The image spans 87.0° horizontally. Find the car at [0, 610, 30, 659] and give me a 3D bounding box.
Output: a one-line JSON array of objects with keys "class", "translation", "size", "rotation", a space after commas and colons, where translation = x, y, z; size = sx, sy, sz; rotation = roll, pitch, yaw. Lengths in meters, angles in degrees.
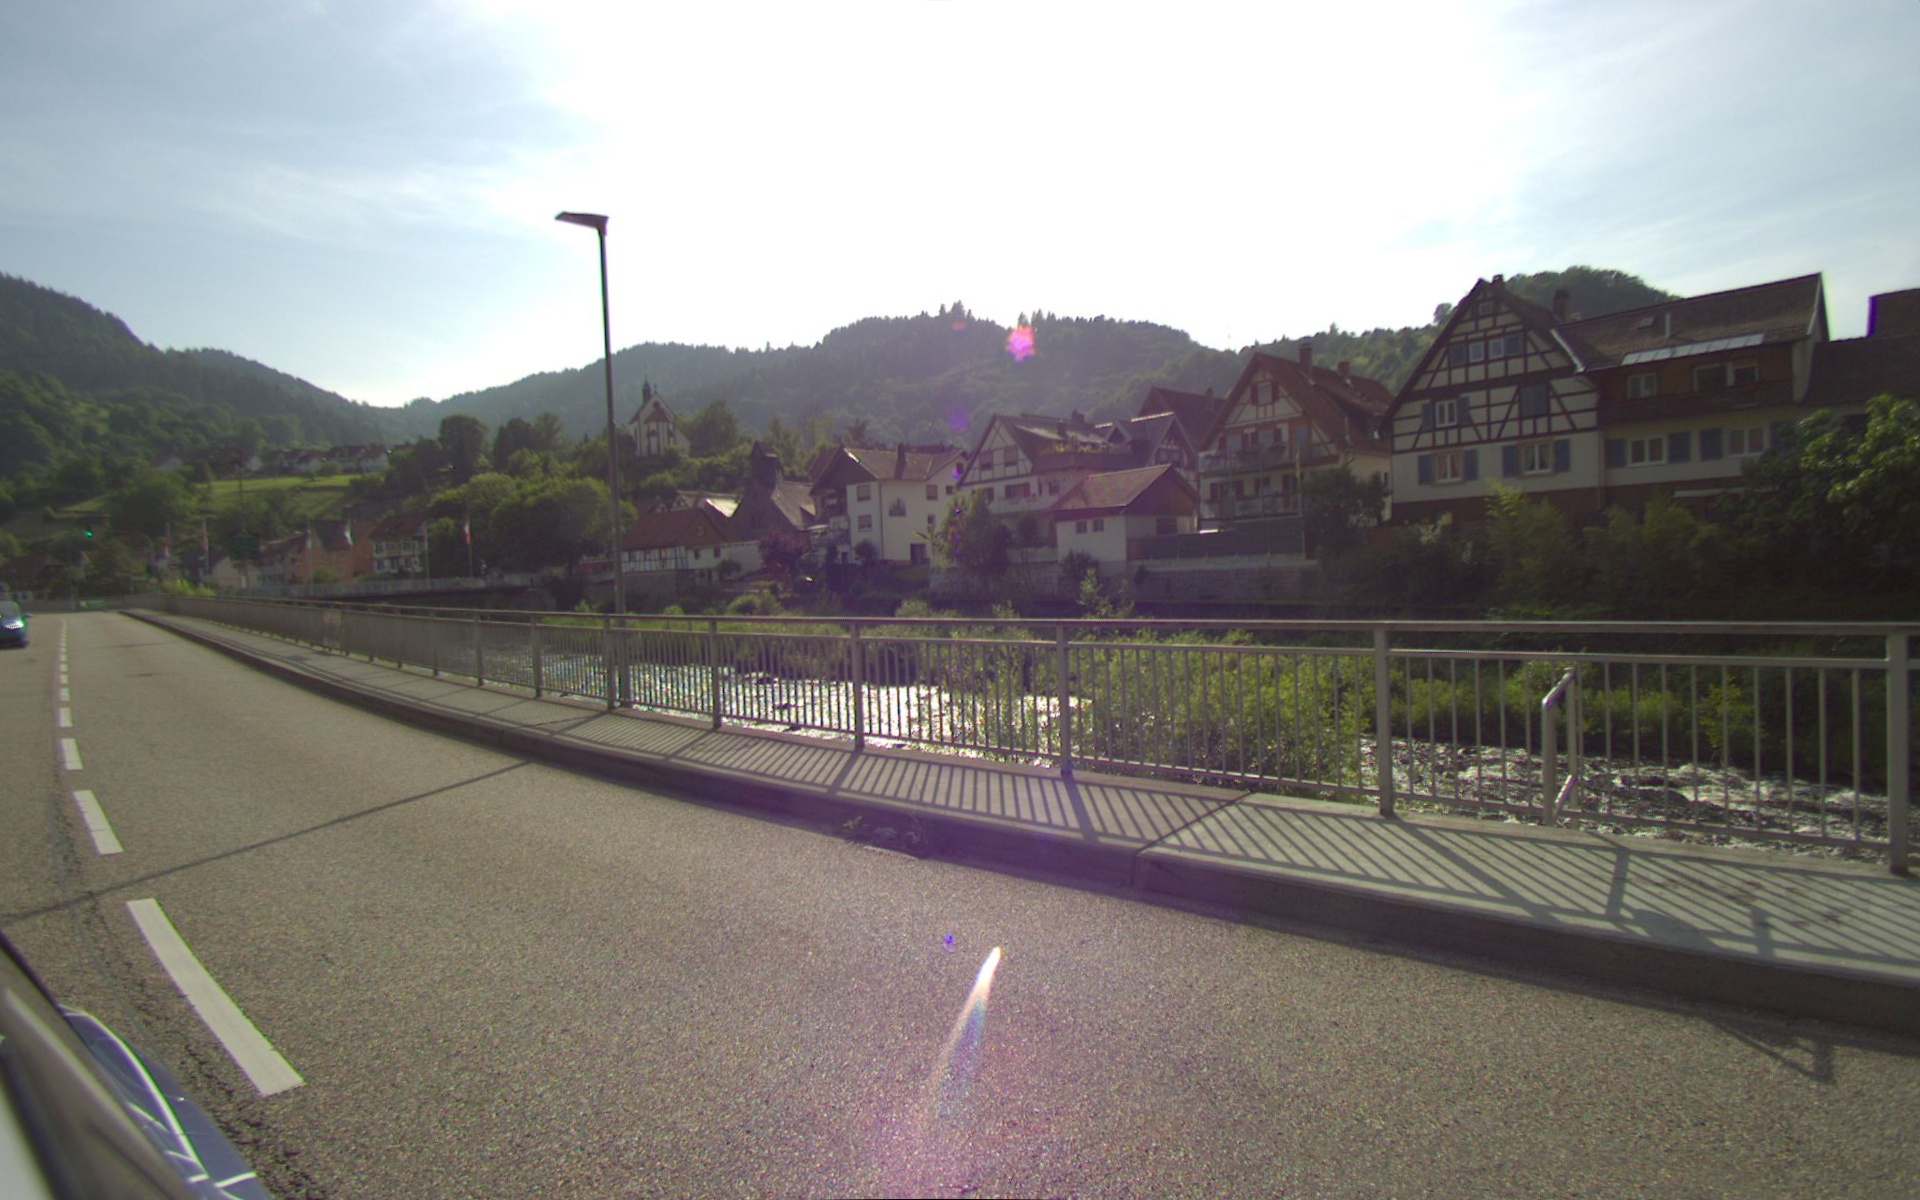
[{"class": "car", "translation": [-31.579, 1.106, 33.031], "size": [1.658, 1.533, 3.872], "rotation": [0, 0, -40]}]
